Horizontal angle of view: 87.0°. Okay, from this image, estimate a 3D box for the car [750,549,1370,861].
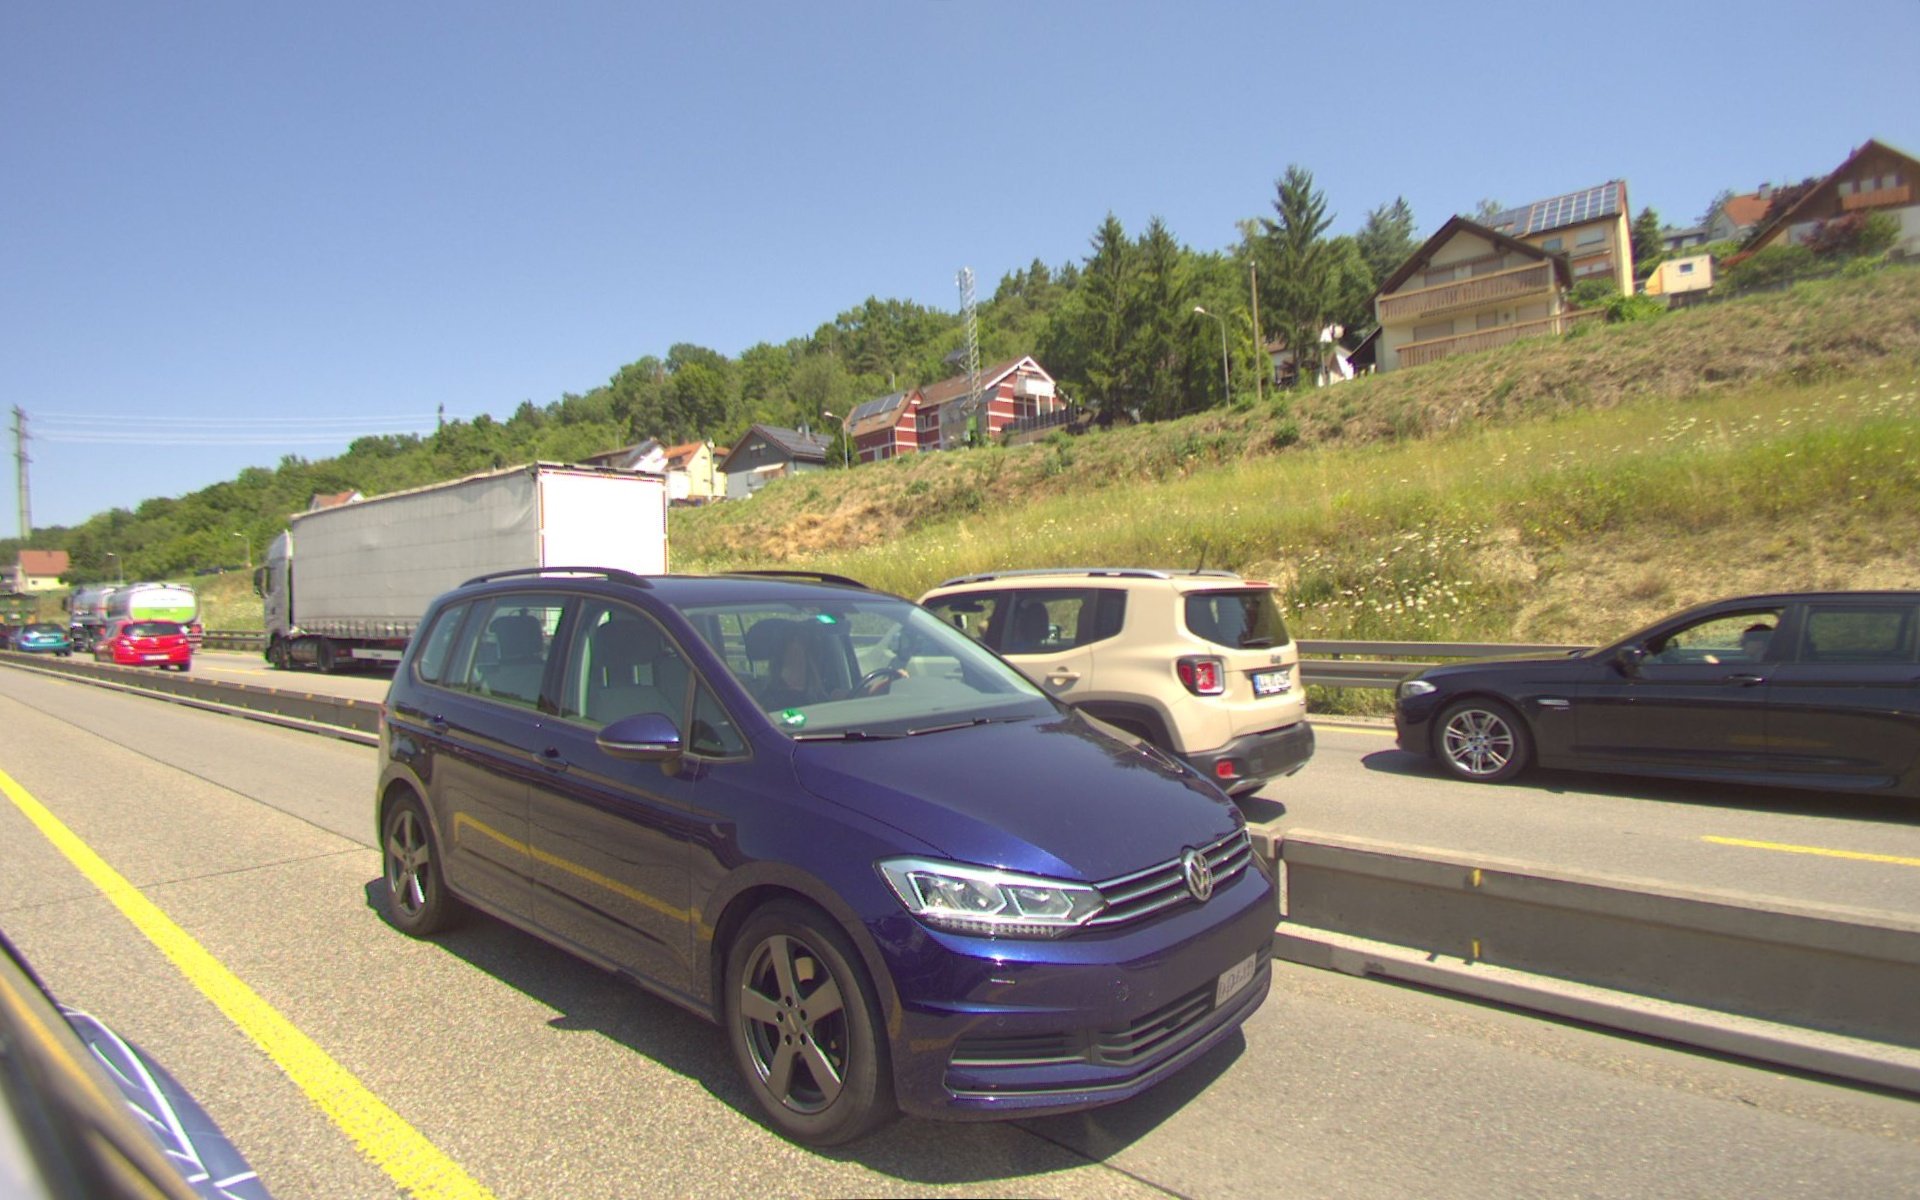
[{"bbox_3d":[0.513,0.585,7.596,4.412,1.679,1.813,-1,-1,41],"label":"car"}]

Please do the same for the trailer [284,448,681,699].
[{"bbox_3d":[-11.409,-0.318,22.669,13.973,4.213,2.756,-2,-1,42],"label":"trailer"}]

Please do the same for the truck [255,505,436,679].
[{"bbox_3d":[-16.689,-0.153,27.356,5.286,4.213,2.717,-2,-1,41],"label":"truck"}]

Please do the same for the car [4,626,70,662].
[{"bbox_3d":[-39.168,1.852,42.904,3.903,1.405,1.648,-2,-1,41],"label":"car"}]

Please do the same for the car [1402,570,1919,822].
[{"bbox_3d":[5.951,0.572,7.269,4.716,1.518,1.973,-1,0,41],"label":"car"}]

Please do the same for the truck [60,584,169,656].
[{"bbox_3d":[-40.685,0.980,48.544,8.955,3.166,2.697,-2,-1,42],"label":"truck"}]

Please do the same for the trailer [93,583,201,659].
[{"bbox_3d":[-34.954,0.888,43.435,6.367,3.023,2.585,-2,-1,42],"label":"trailer"}]

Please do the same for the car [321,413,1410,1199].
[{"bbox_3d":[-0.872,0.562,4.184,4.650,1.731,1.757,-2,-1,42],"label":"car"}]

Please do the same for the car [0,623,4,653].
[{"bbox_3d":[-54.929,2.167,56.643,4.497,1.647,1.700,-2,-1,42],"label":"car"}]

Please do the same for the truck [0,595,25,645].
[{"bbox_3d":[-78.841,1.659,82.879,4.176,3.968,2.864,-2,-1,41],"label":"truck"}]

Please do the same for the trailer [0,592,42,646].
[{"bbox_3d":[-74.392,1.515,78.957,10.521,3.968,2.882,-2,-1,41],"label":"trailer"}]

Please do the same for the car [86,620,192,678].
[{"bbox_3d":[-22.955,1.336,28.252,3.998,1.477,1.652,-2,-1,41],"label":"car"}]
